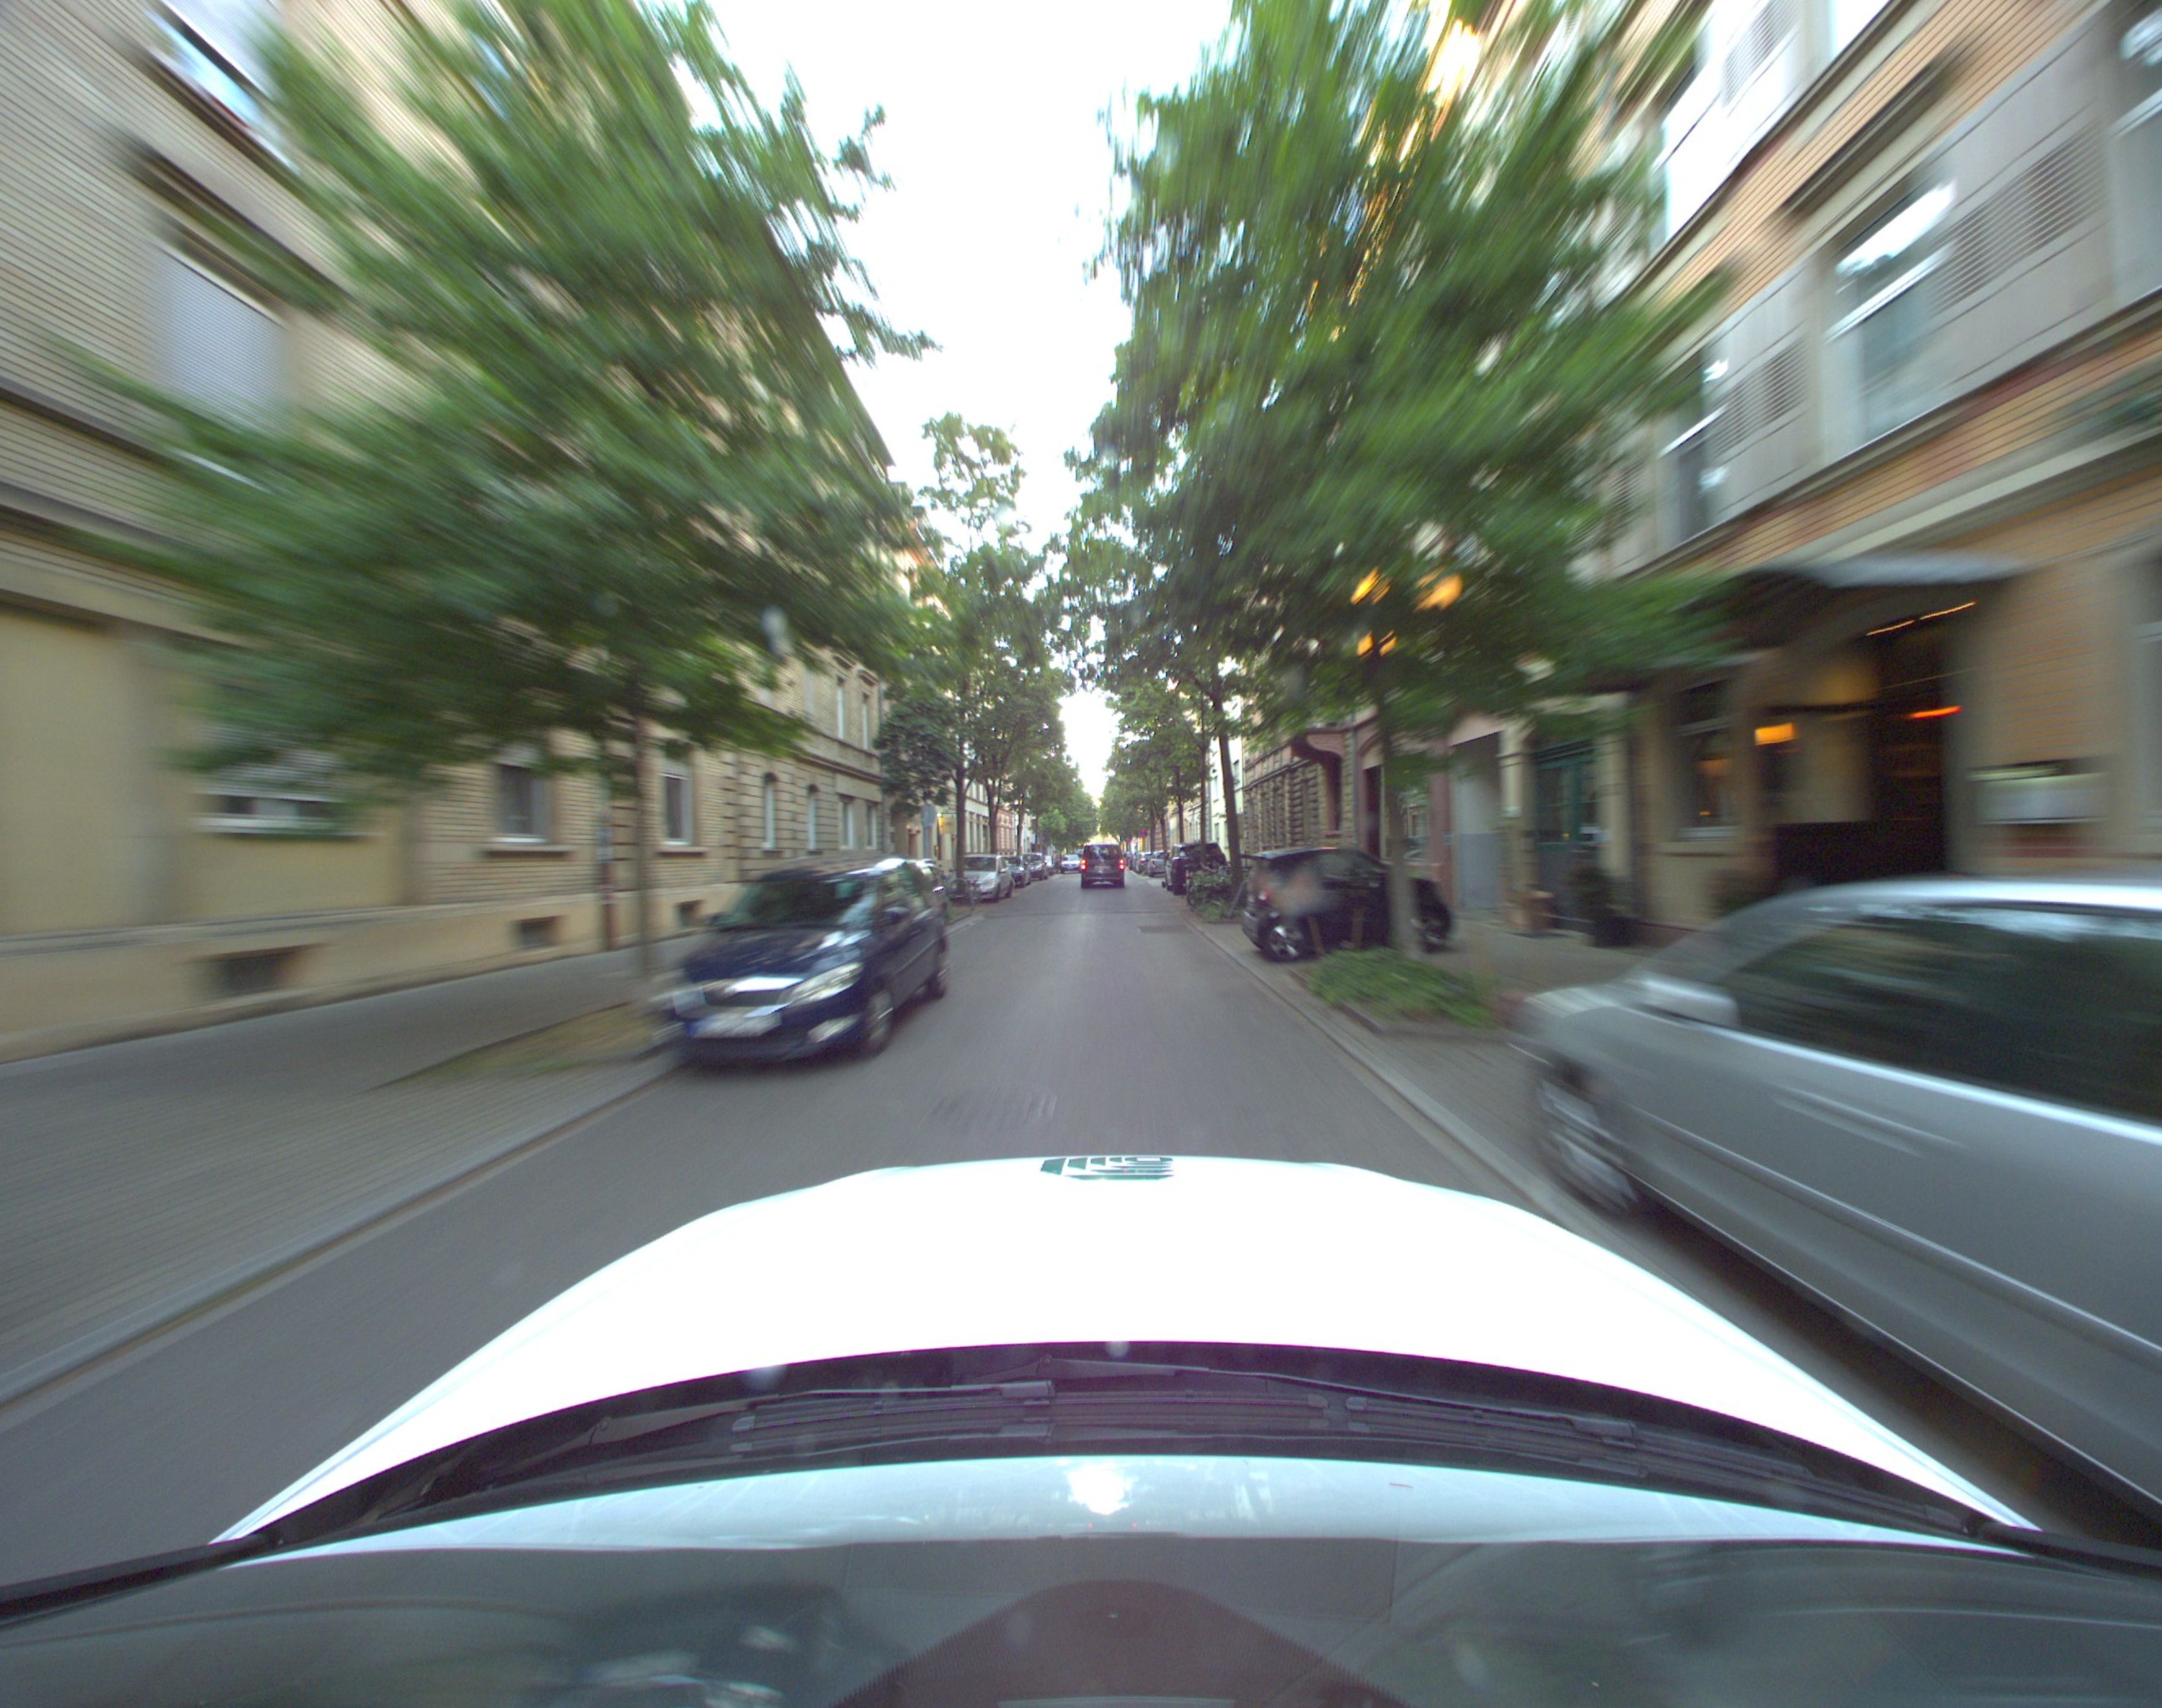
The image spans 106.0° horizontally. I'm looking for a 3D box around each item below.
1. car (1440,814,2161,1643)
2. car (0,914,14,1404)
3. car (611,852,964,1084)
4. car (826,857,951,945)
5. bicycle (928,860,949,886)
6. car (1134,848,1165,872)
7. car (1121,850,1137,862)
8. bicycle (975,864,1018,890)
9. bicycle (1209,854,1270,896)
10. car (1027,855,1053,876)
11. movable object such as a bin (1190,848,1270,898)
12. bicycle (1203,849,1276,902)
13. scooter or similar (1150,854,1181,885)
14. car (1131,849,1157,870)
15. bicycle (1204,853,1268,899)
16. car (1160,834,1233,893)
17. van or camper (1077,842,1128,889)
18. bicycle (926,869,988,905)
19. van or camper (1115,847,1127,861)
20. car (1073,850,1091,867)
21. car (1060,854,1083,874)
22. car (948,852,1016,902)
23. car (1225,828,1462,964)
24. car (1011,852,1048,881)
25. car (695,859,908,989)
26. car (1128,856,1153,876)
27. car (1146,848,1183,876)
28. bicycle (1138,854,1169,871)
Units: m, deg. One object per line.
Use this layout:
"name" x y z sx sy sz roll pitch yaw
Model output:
"car" 2.822 0.644 2.455 1.727 1.491 4.105 -2 0 2
"car" -4.152 0.946 0.330 1.761 1.462 4.259 -2 0 0
"car" -2.383 0.805 7.872 1.717 1.573 4.221 -2 0 2
"car" -3.645 0.829 16.009 1.513 1.501 3.562 0 0 1
"bicycle" -6.393 0.855 36.694 0.524 1.097 1.796 -2 0 2
"car" 4.701 0.381 56.296 1.711 1.476 4.367 -4 0 0
"car" 5.842 0.254 99.264 1.687 1.401 4.647 -3 0 1
"bicycle" -3.464 0.947 33.426 1.677 1.003 0.430 1 0 3
"bicycle" 4.591 0.604 23.669 1.650 1.143 0.583 -2 0 4
"car" -2.910 0.811 58.565 1.581 1.437 3.567 0 0 1
"movable object such as a bin" 4.470 0.571 24.542 2.206 1.305 0.771 -5 0 4
"bicycle" 4.307 0.582 22.231 1.755 1.294 0.802 -4 0 1
"scooter or similar" 3.516 0.629 33.919 0.667 1.190 1.123 -5 -1 41
"car" 4.754 0.405 61.908 1.630 1.424 3.564 -3 0 0
"bicycle" 4.370 0.617 23.047 1.688 1.198 0.583 -2 0 4
"car" 4.089 0.295 29.677 2.006 1.833 4.813 -4 0 2
"van or camper" 1.015 0.461 36.067 2.026 1.897 4.275 -2 0 4
"bicycle" -3.858 1.021 25.364 1.869 1.060 0.593 0 0 -18
"van or camper" 7.791 -0.082 158.516 1.987 2.599 5.424 -2 0 0
"car" 0.100 0.423 80.462 1.658 1.563 3.998 -2 0 -1
"car" -0.681 0.755 63.134 1.574 1.420 3.754 -2 0 1
"car" -3.422 0.754 28.765 1.669 1.607 3.865 -1 0 3
"car" 3.680 0.564 11.836 2.787 1.599 1.801 -5 0 2
"car" -2.948 0.691 47.205 1.700 1.580 4.081 0 1 2
"car" -3.736 0.848 11.581 1.685 1.501 3.712 0 0 1
"car" 4.835 0.973 66.790 1.760 1.415 4.476 -4 0 2
"car" 4.773 0.440 47.052 1.752 1.463 4.309 -3 0 1
"bicycle" 4.758 0.553 53.394 1.922 0.982 0.634 -2 0 -20
